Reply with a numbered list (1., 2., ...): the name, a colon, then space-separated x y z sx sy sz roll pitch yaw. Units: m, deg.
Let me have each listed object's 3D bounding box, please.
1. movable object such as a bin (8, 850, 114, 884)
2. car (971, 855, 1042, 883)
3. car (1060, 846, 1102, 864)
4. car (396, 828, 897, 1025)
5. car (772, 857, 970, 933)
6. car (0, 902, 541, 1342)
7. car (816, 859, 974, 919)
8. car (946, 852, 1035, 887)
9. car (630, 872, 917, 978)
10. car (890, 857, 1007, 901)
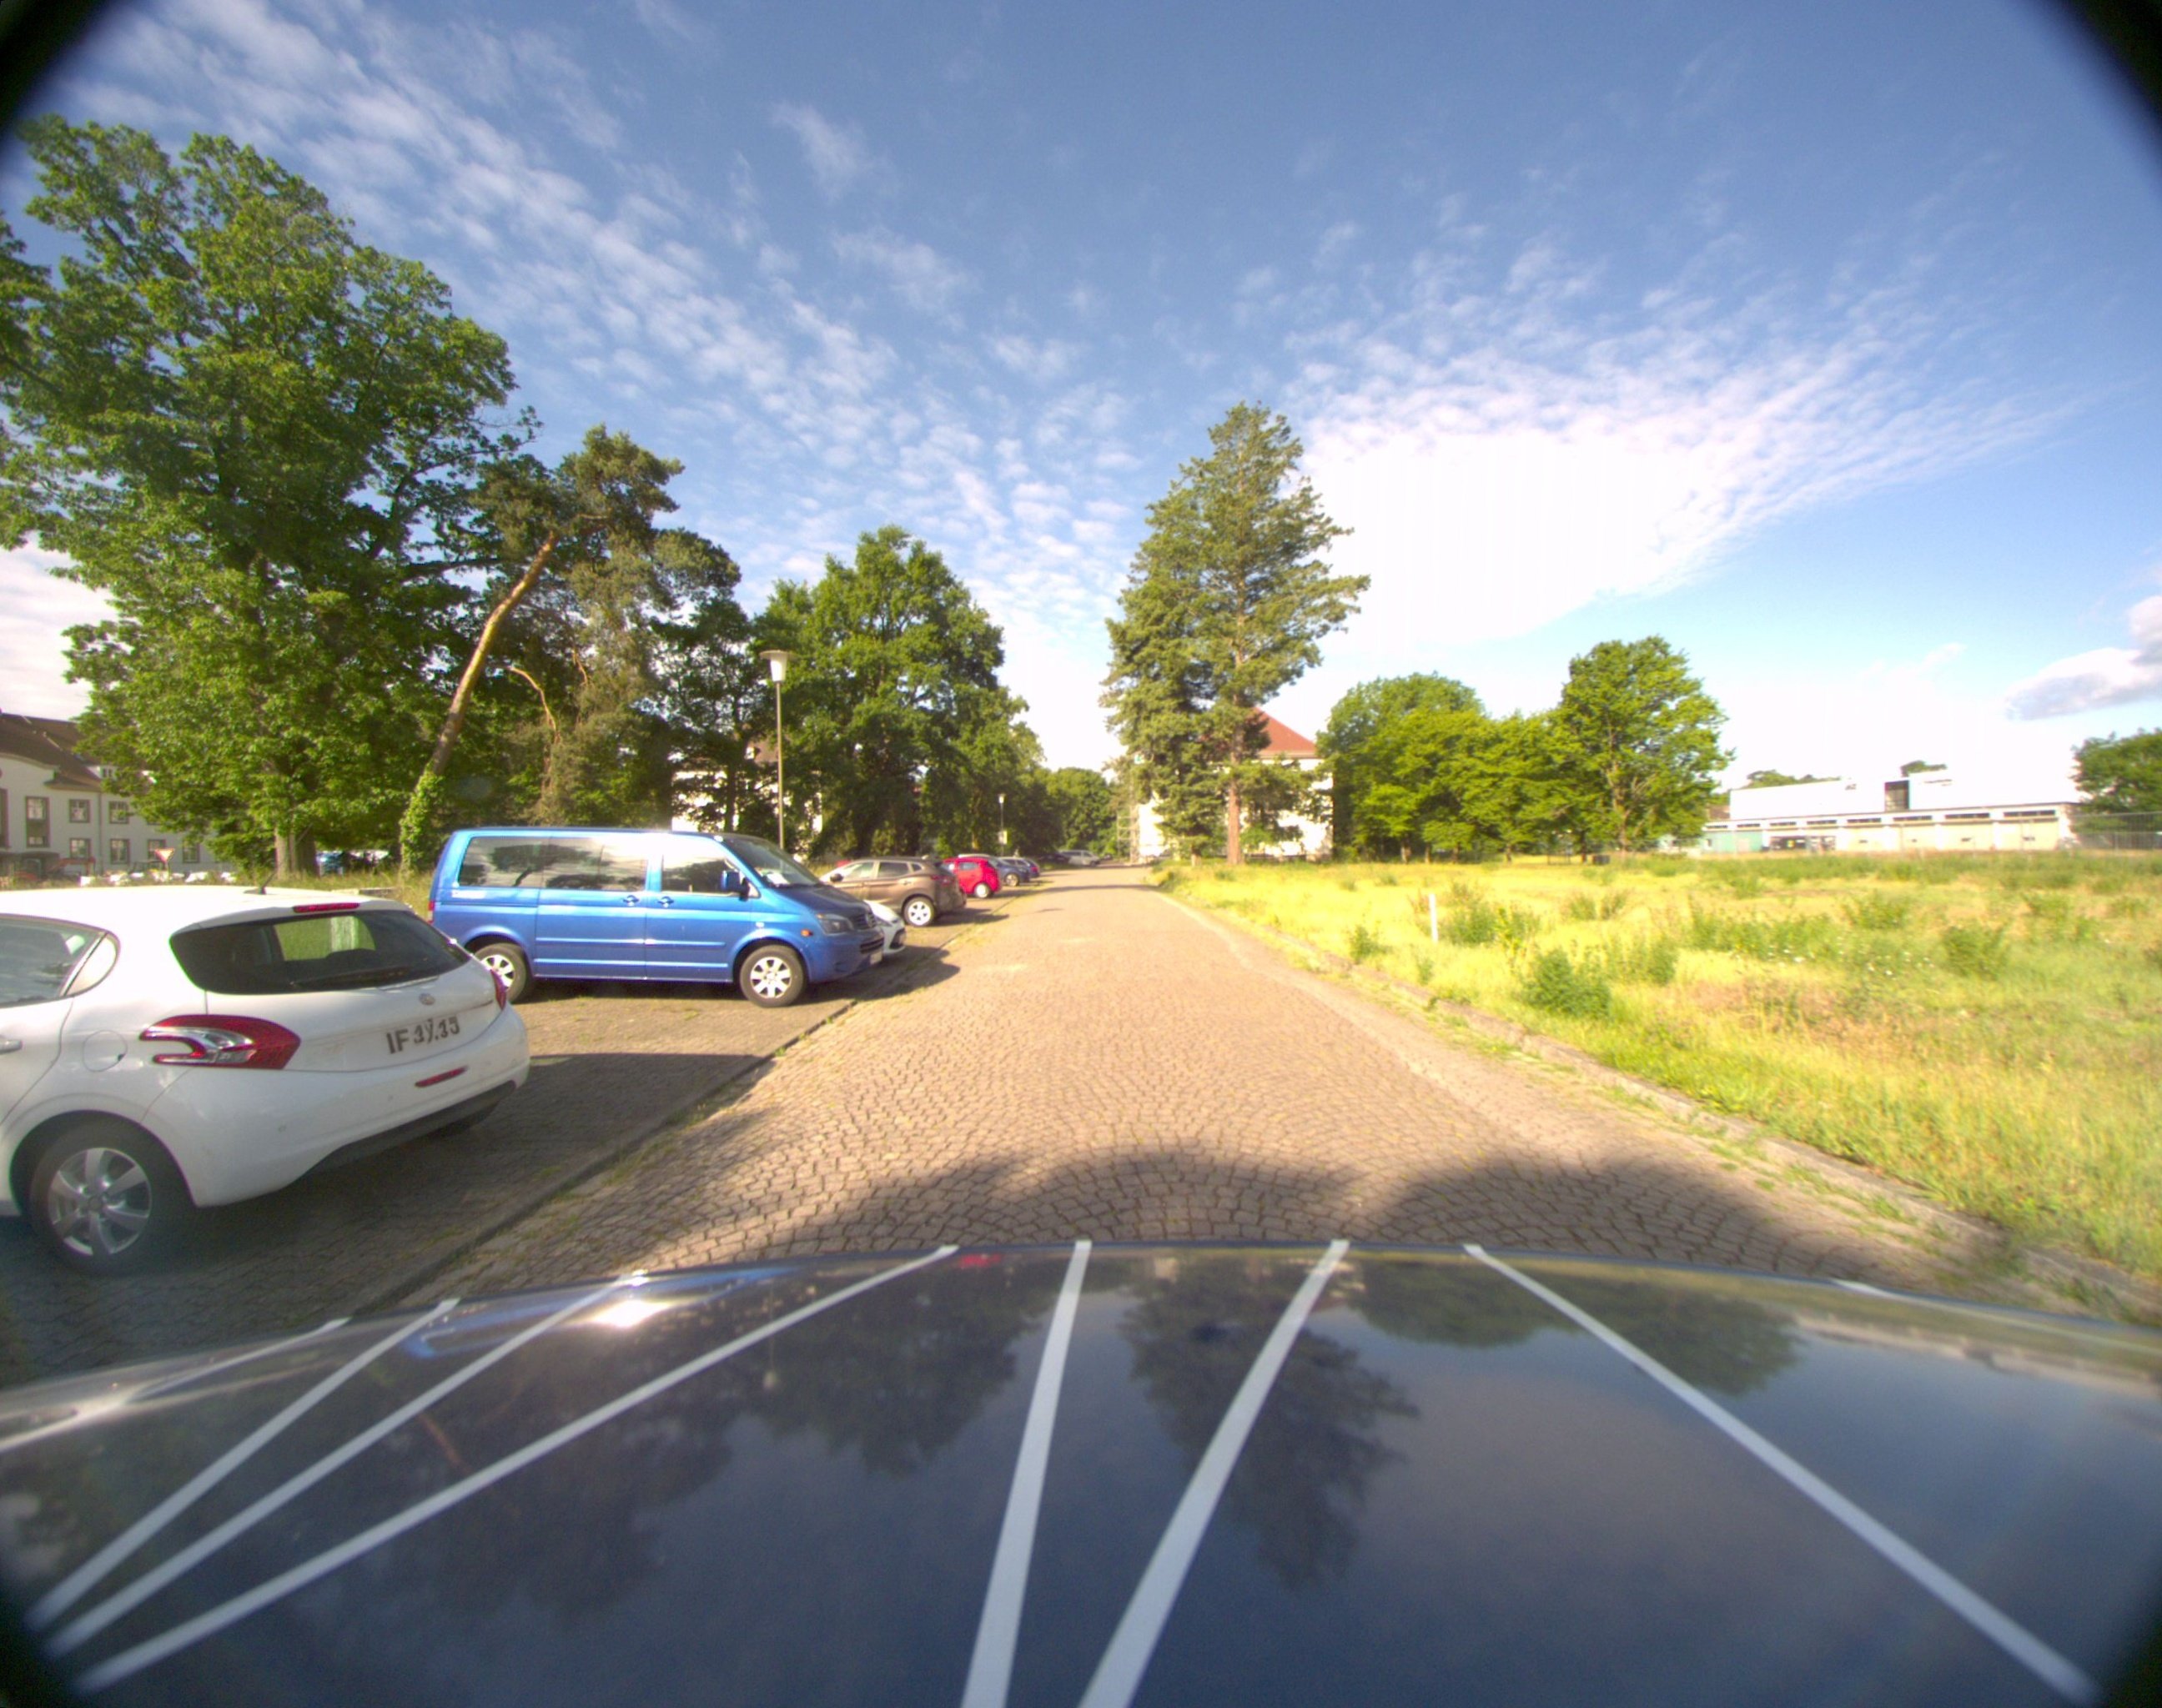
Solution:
1. movable object such as a bin: -89.404 1.088 66.739 2.178 2.884 5.075 -1 1 8
2. car: -4.178 0.844 43.163 3.809 1.458 1.747 -1 1 2
3. car: 0.031 0.100 91.911 4.994 2.123 2.164 -1 1 -1
4. car: -4.817 0.753 8.970 4.766 2.002 2.000 1 1 1
5. car: -4.801 0.914 17.791 4.118 1.602 1.786 -1 1 -1
6. car: -4.978 1.052 3.596 3.654 1.483 1.634 -1 1 1
7. car: -4.973 0.922 20.619 3.834 1.530 1.703 0 1 1
8. car: -4.509 0.775 38.366 4.273 1.589 1.651 -1 1 0
9. car: -4.529 1.027 11.598 3.730 1.458 1.609 0 1 -2
10. car: -4.838 0.904 28.081 3.997 1.487 1.540 -1 1 0
